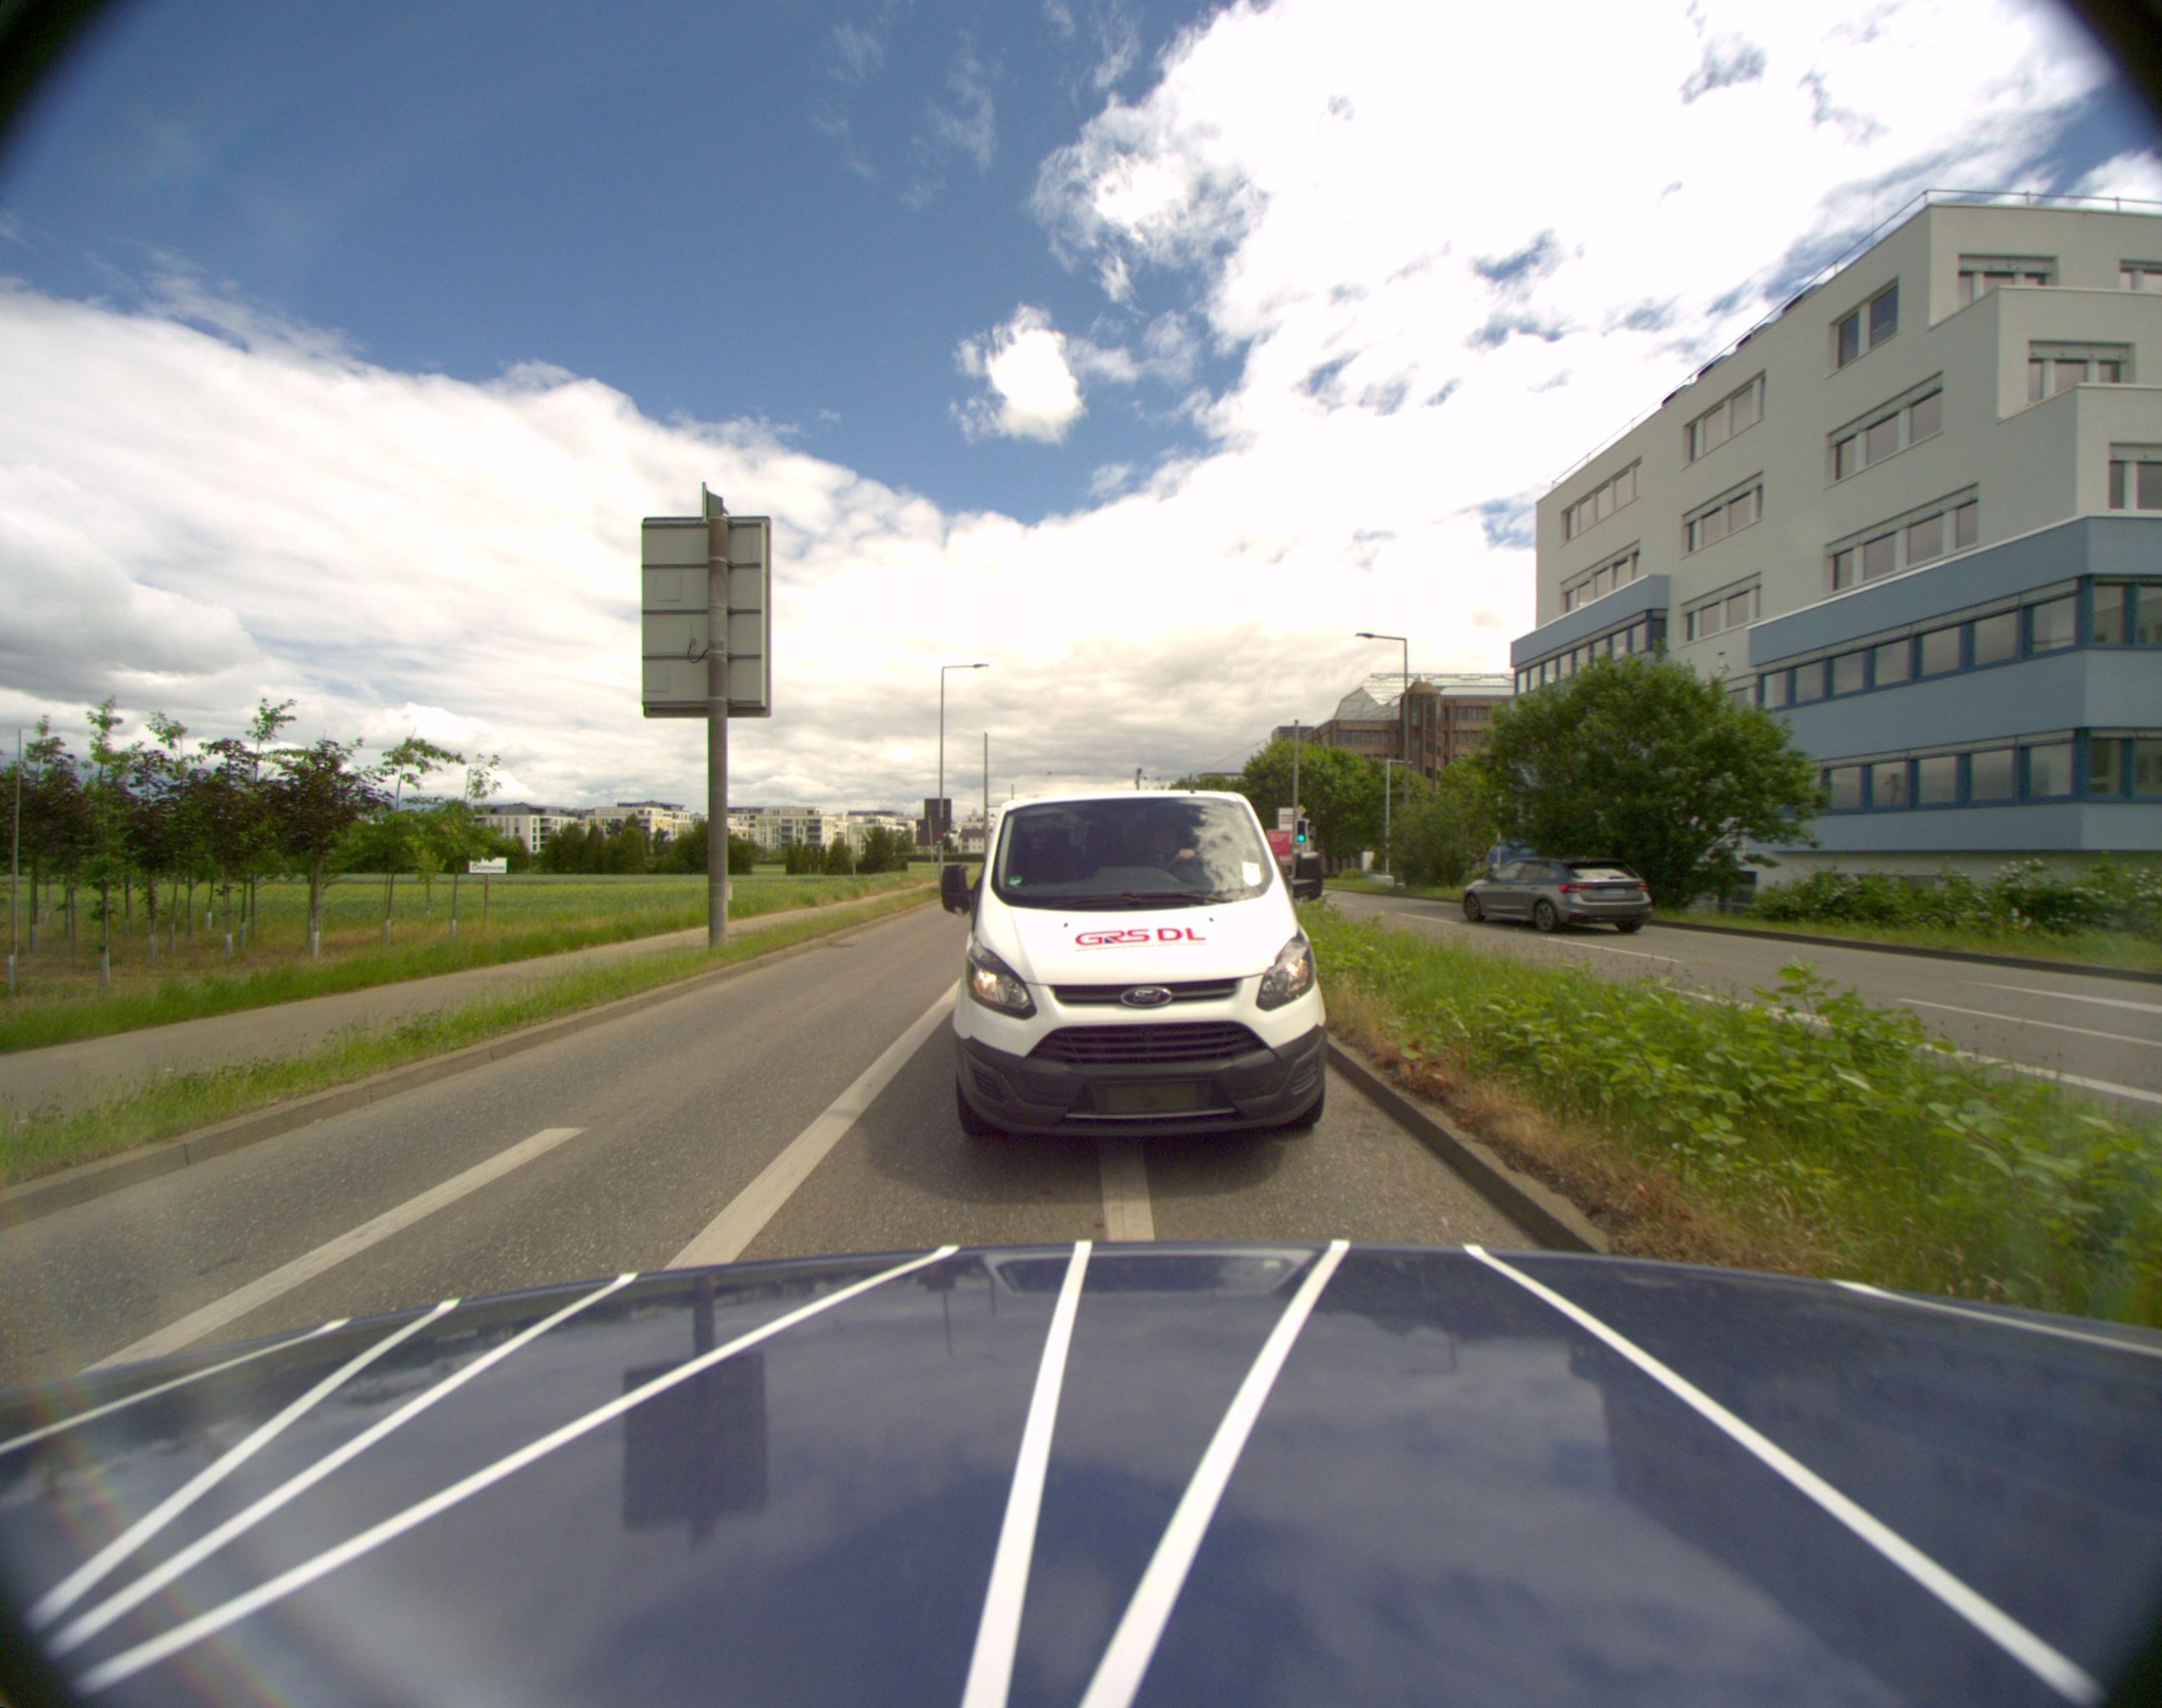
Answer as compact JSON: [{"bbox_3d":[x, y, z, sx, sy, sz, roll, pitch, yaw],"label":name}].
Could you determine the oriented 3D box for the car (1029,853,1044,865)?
[{"bbox_3d":[-5.542,0.628,95.531,1.683,1.410,3.739,-1,1,-1],"label":"car"}]

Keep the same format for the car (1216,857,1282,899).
[{"bbox_3d":[6.113,0.830,28.029,1.693,1.422,3.635,-1,0,1],"label":"car"}]

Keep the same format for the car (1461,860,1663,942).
[{"bbox_3d":[9.325,0.836,15.119,1.558,1.375,3.779,-1,0,-1],"label":"car"}]

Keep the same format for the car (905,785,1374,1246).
[{"bbox_3d":[0.286,0.697,5.798,1.968,1.938,5.055,-2,0,1],"label":"car"}]

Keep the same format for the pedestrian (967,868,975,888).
[{"bbox_3d":[-9.740,2.104,67.271,0.492,1.693,0.626,-2,1,-1],"label":"pedestrian"}]
